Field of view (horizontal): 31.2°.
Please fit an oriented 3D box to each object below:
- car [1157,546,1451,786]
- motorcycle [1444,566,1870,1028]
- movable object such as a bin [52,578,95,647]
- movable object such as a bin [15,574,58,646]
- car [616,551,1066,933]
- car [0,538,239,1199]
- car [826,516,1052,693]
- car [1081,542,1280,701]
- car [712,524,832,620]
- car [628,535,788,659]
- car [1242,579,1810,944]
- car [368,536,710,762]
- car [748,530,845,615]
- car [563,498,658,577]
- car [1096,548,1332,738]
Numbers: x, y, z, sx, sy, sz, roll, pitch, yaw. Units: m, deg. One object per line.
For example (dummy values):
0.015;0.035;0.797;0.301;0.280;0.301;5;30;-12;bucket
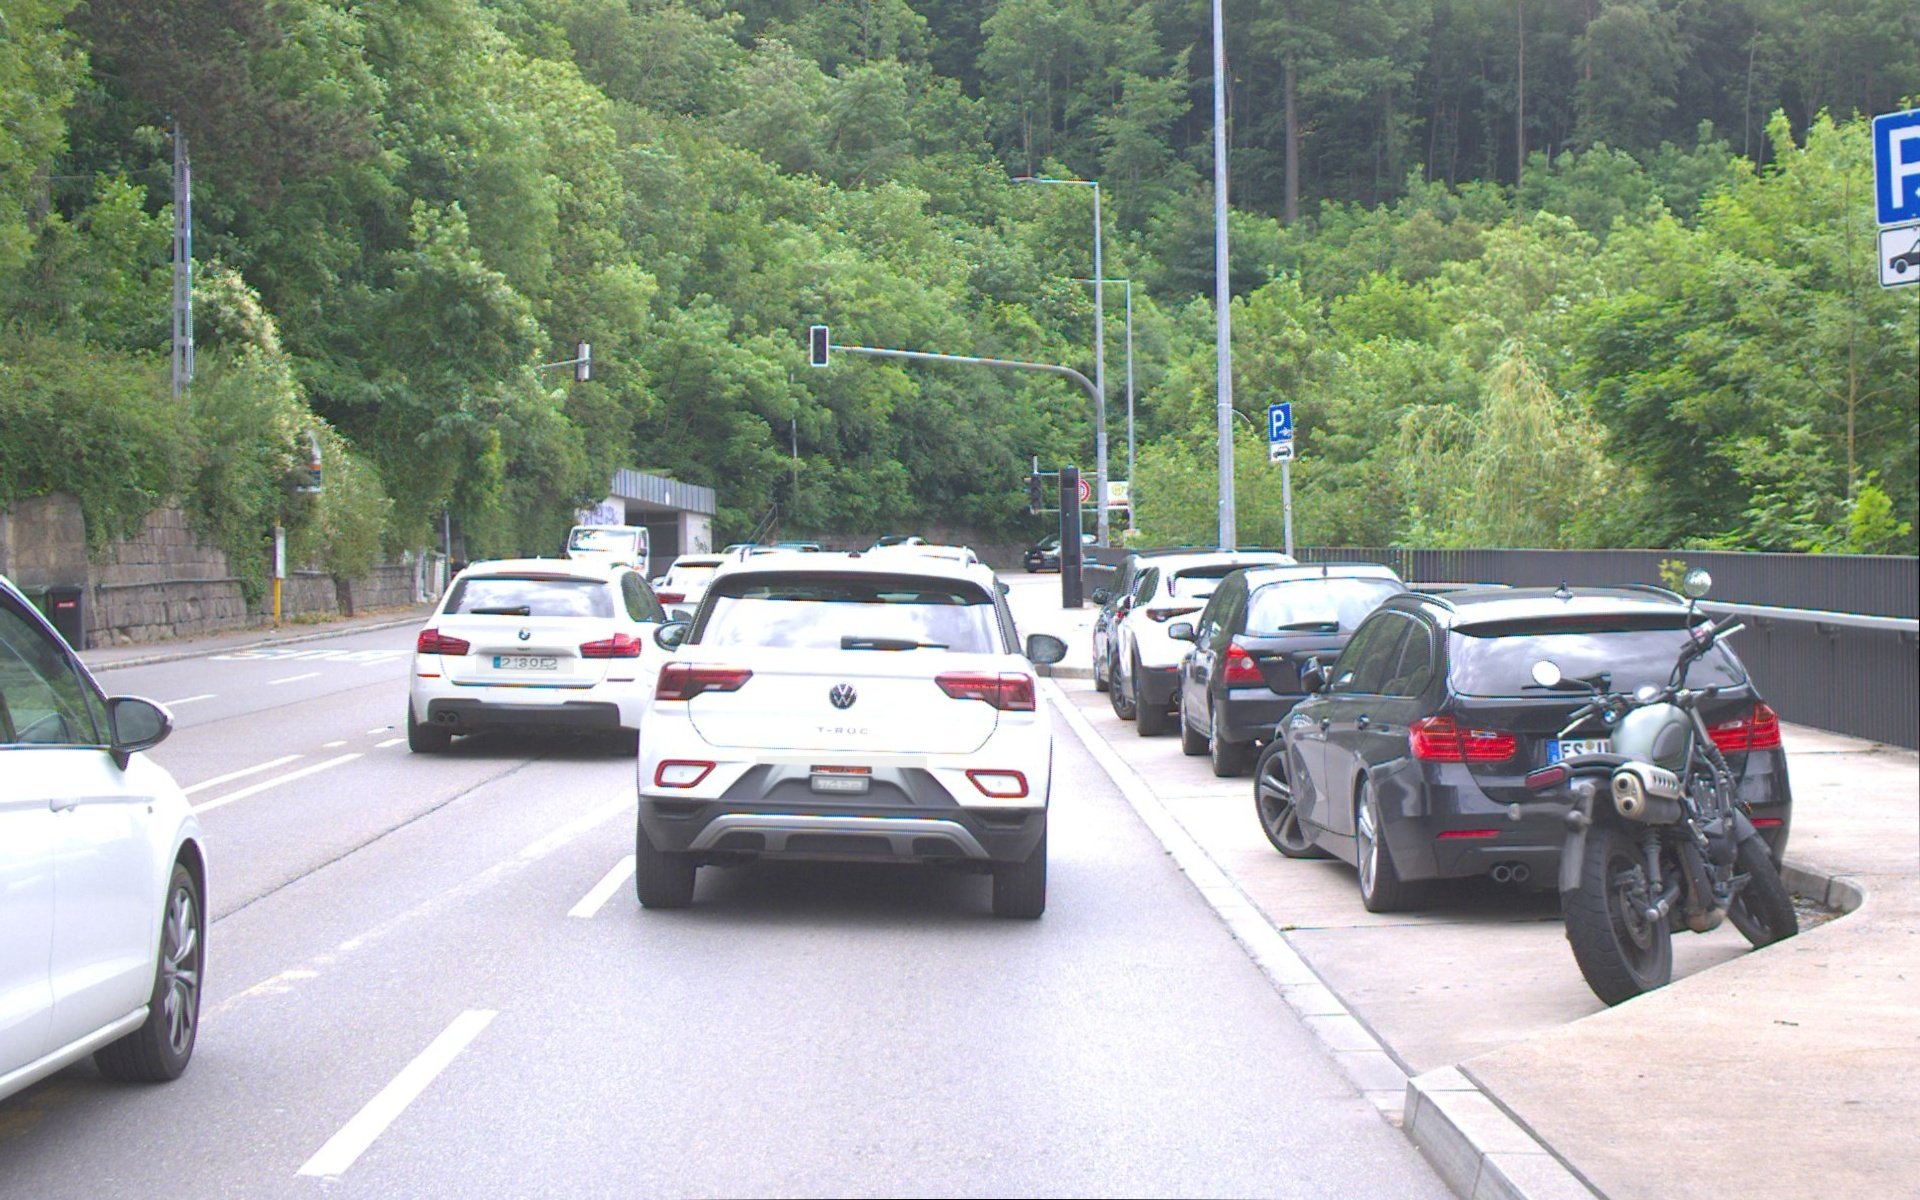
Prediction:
2.479;0.421;25.663;1.659;1.566;4.255;-3;1;0;car
2.541;0.621;12.256;0.771;1.462;2.501;1;1;28;motorcycle
-12.212;0.166;47.364;0.479;0.933;0.366;2;0;-4;movable object such as a bin
-12.718;0.139;47.336;0.477;0.968;0.368;2;0;-4;movable object such as a bin
-0.572;0.563;15.961;1.813;1.534;4.009;0;0;-3;car
-3.030;0.619;8.341;1.720;1.549;4.276;1;1;-1;car
-0.174;0.035;39.180;1.994;1.837;4.149;2;1;7;car
2.323;0.187;37.236;1.757;1.538;4.427;-3;1;0;car
-3.527;-0.541;65.127;1.993;1.735;4.000;1;1;1;car
-3.453;-0.066;47.805;1.862;1.589;4.000;2;1;0;car
2.504;0.648;16.283;1.823;1.396;4.320;-2;1;-2;car
-3.157;0.306;26.710;1.993;1.552;4.681;1;1;1;car
-3.726;-0.650;78.912;1.993;1.858;4.000;1;1;0;car
-9.084;-1.631;89.714;1.921;1.998;5.356;0;1;0;car
2.219;0.339;31.089;1.726;1.563;4.624;-1;1;-1;car
